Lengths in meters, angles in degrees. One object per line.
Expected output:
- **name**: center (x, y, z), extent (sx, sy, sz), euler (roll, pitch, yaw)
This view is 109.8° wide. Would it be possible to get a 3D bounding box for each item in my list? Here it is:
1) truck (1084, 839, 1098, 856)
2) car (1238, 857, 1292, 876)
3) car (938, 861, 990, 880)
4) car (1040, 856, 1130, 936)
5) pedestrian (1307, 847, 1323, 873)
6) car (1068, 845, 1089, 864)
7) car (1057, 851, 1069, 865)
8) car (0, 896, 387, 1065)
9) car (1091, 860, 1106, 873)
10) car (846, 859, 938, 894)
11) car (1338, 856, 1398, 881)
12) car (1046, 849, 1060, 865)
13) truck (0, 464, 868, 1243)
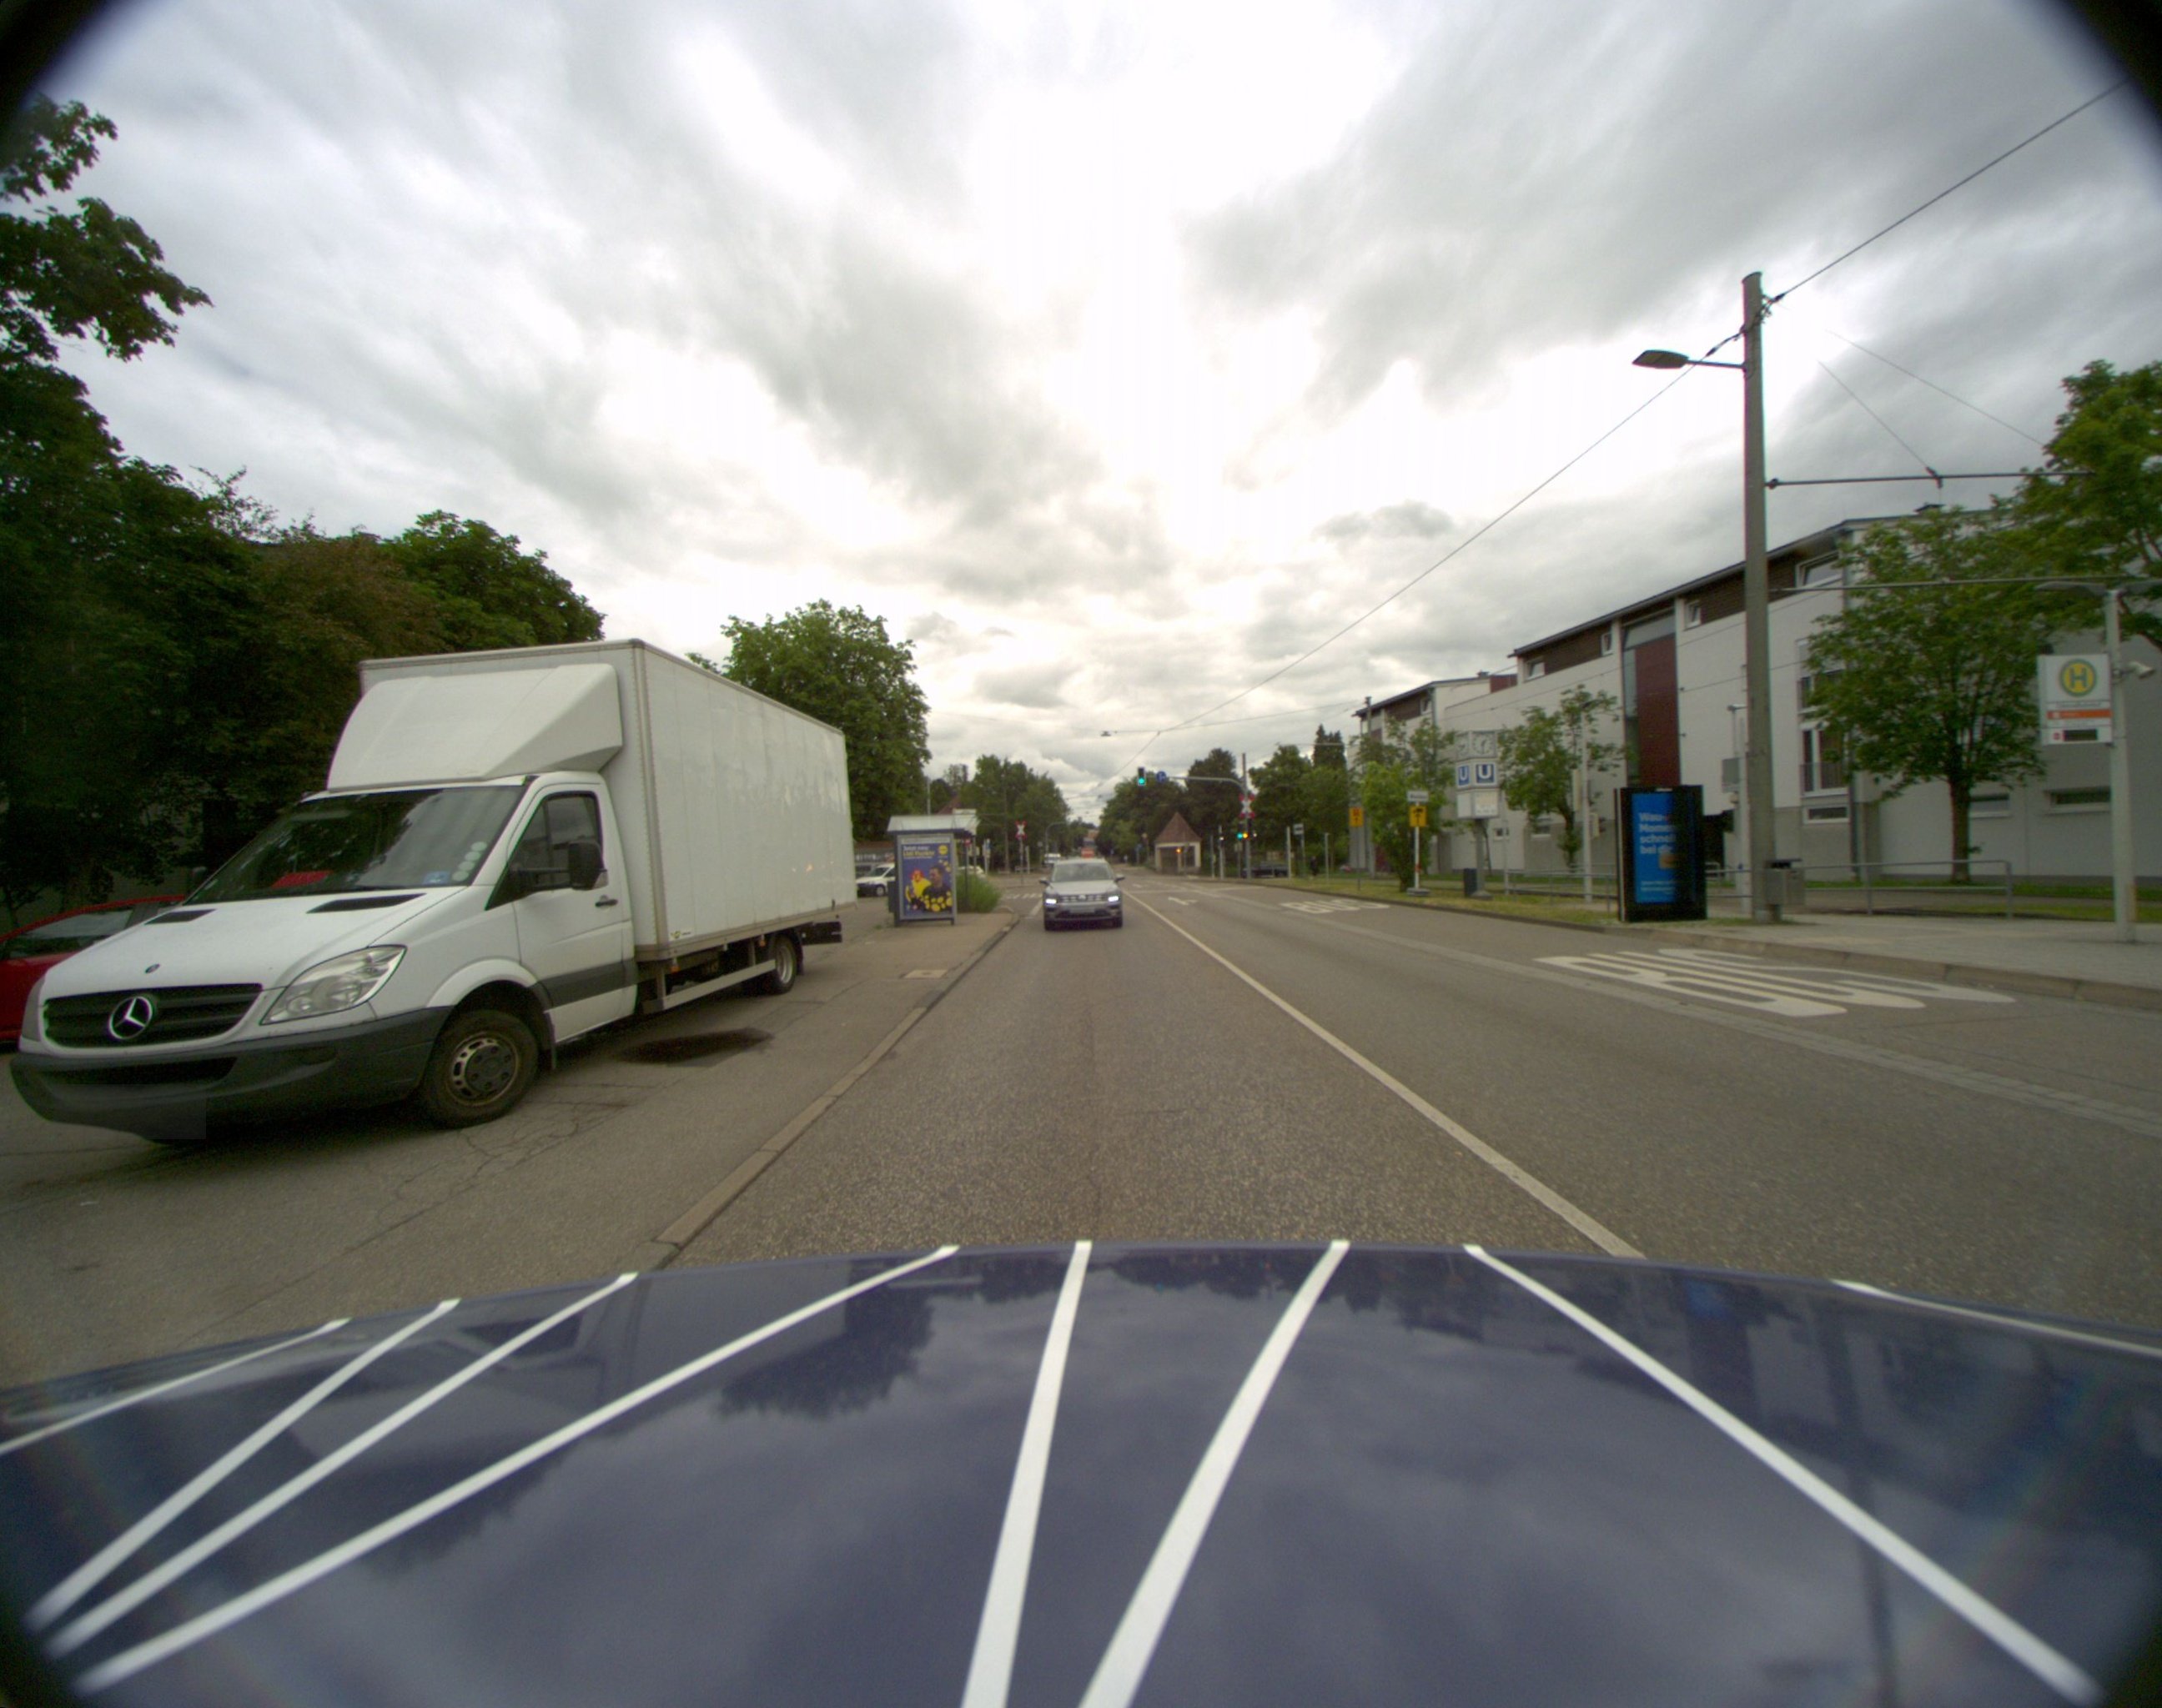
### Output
- **truck**: center (2.150, -1.521, 172.699), extent (2.776, 3.697, 8.467), euler (0, 0, -2)
- **car**: center (17.157, 1.182, 70.935), extent (4.488, 1.660, 1.964), euler (1, 0, -8)
- **car**: center (-10.770, 1.508, 70.033), extent (4.656, 1.527, 1.915), euler (-2, 0, -8)
- **car**: center (-0.023, 0.933, 19.012), extent (1.835, 1.610, 4.486), euler (-4, 1, -4)
- **pedestrian**: center (15.003, 0.413, 48.699), extent (0.677, 1.634, 0.819), euler (-1, -2, -6)
- **car**: center (-0.265, 0.026, 73.943), extent (1.811, 1.736, 3.999), euler (-2, 0, -3)
- **car**: center (-3.454, 0.763, 145.144), extent (2.046, 2.588, 5.966), euler (-1, 0, -1)
- **car**: center (-10.229, 1.302, 8.167), extent (3.734, 1.436, 1.605), euler (-3, -1, -27)
- **car**: center (2.278, 1.663, 100.526), extent (1.744, 1.550, 4.183), euler (-1, 0, -1)
- **car**: center (-10.233, 1.187, 41.492), extent (1.846, 1.738, 4.705), euler (-2, 0, 37)
- **car**: center (25.159, 1.250, 66.686), extent (4.469, 2.002, 1.999), euler (2, 0, -7)
- **car**: center (-4.787, 0.552, 129.207), extent (2.095, 2.589, 6.679), euler (-1, 0, -3)
- **truck**: center (-4.593, 0.035, 7.383), extent (2.579, 3.504, 7.811), euler (-2, 0, 1)
